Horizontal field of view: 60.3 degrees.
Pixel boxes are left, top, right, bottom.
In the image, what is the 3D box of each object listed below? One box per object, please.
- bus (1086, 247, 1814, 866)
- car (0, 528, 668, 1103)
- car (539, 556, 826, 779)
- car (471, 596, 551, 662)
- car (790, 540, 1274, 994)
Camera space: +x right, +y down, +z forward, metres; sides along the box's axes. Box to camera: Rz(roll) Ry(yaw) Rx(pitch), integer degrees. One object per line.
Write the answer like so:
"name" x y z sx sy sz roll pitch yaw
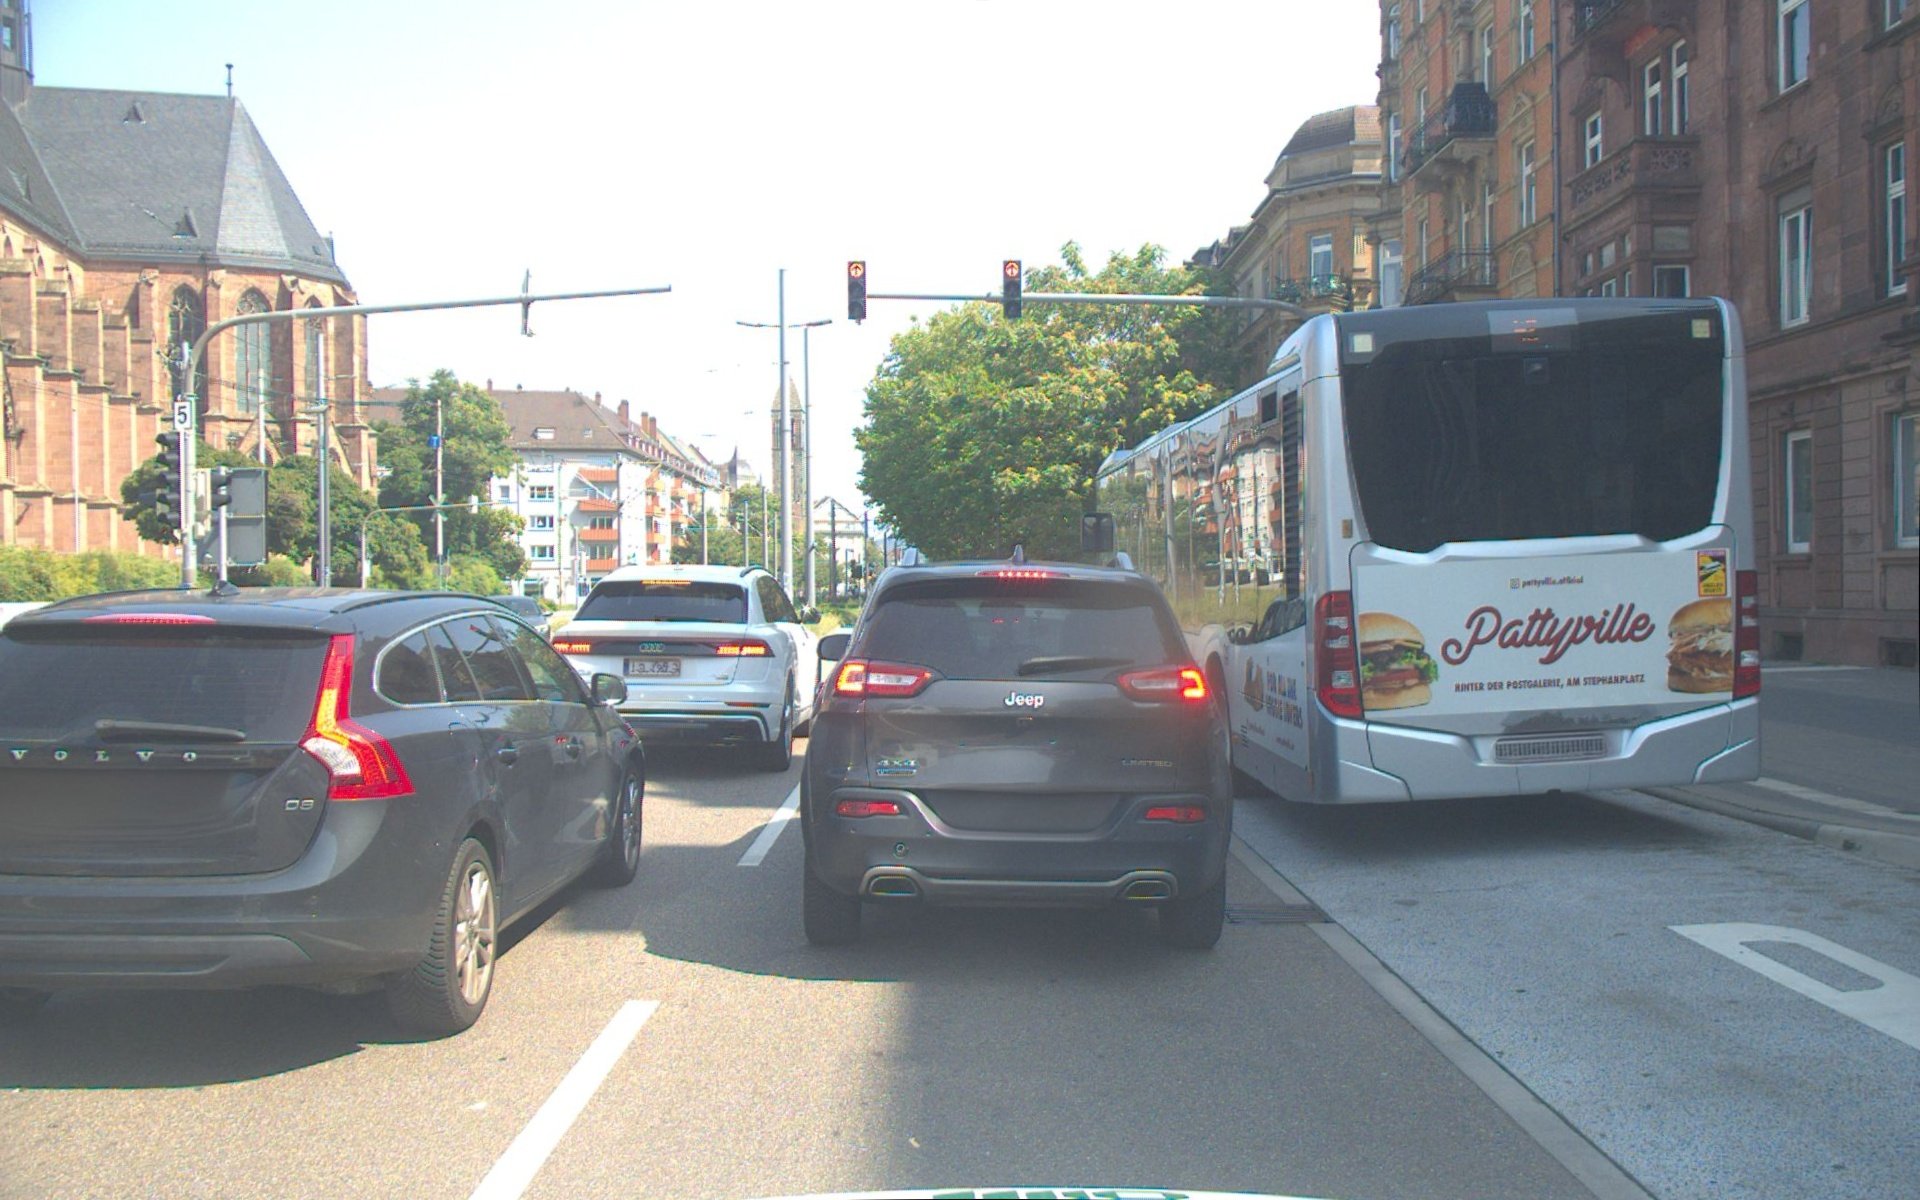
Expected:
"bus" 3.083 -0.256 14.824 2.688 3.161 11.954 -3 0 -1
"car" -2.438 0.603 6.895 1.712 1.642 4.308 1 0 -1
"car" -2.279 0.493 14.707 1.863 1.680 4.308 0 1 -1
"car" -10.897 0.657 40.311 1.717 1.460 4.555 -2 1 -14
"car" 0.281 0.609 8.352 1.795 1.680 4.308 1 0 0
